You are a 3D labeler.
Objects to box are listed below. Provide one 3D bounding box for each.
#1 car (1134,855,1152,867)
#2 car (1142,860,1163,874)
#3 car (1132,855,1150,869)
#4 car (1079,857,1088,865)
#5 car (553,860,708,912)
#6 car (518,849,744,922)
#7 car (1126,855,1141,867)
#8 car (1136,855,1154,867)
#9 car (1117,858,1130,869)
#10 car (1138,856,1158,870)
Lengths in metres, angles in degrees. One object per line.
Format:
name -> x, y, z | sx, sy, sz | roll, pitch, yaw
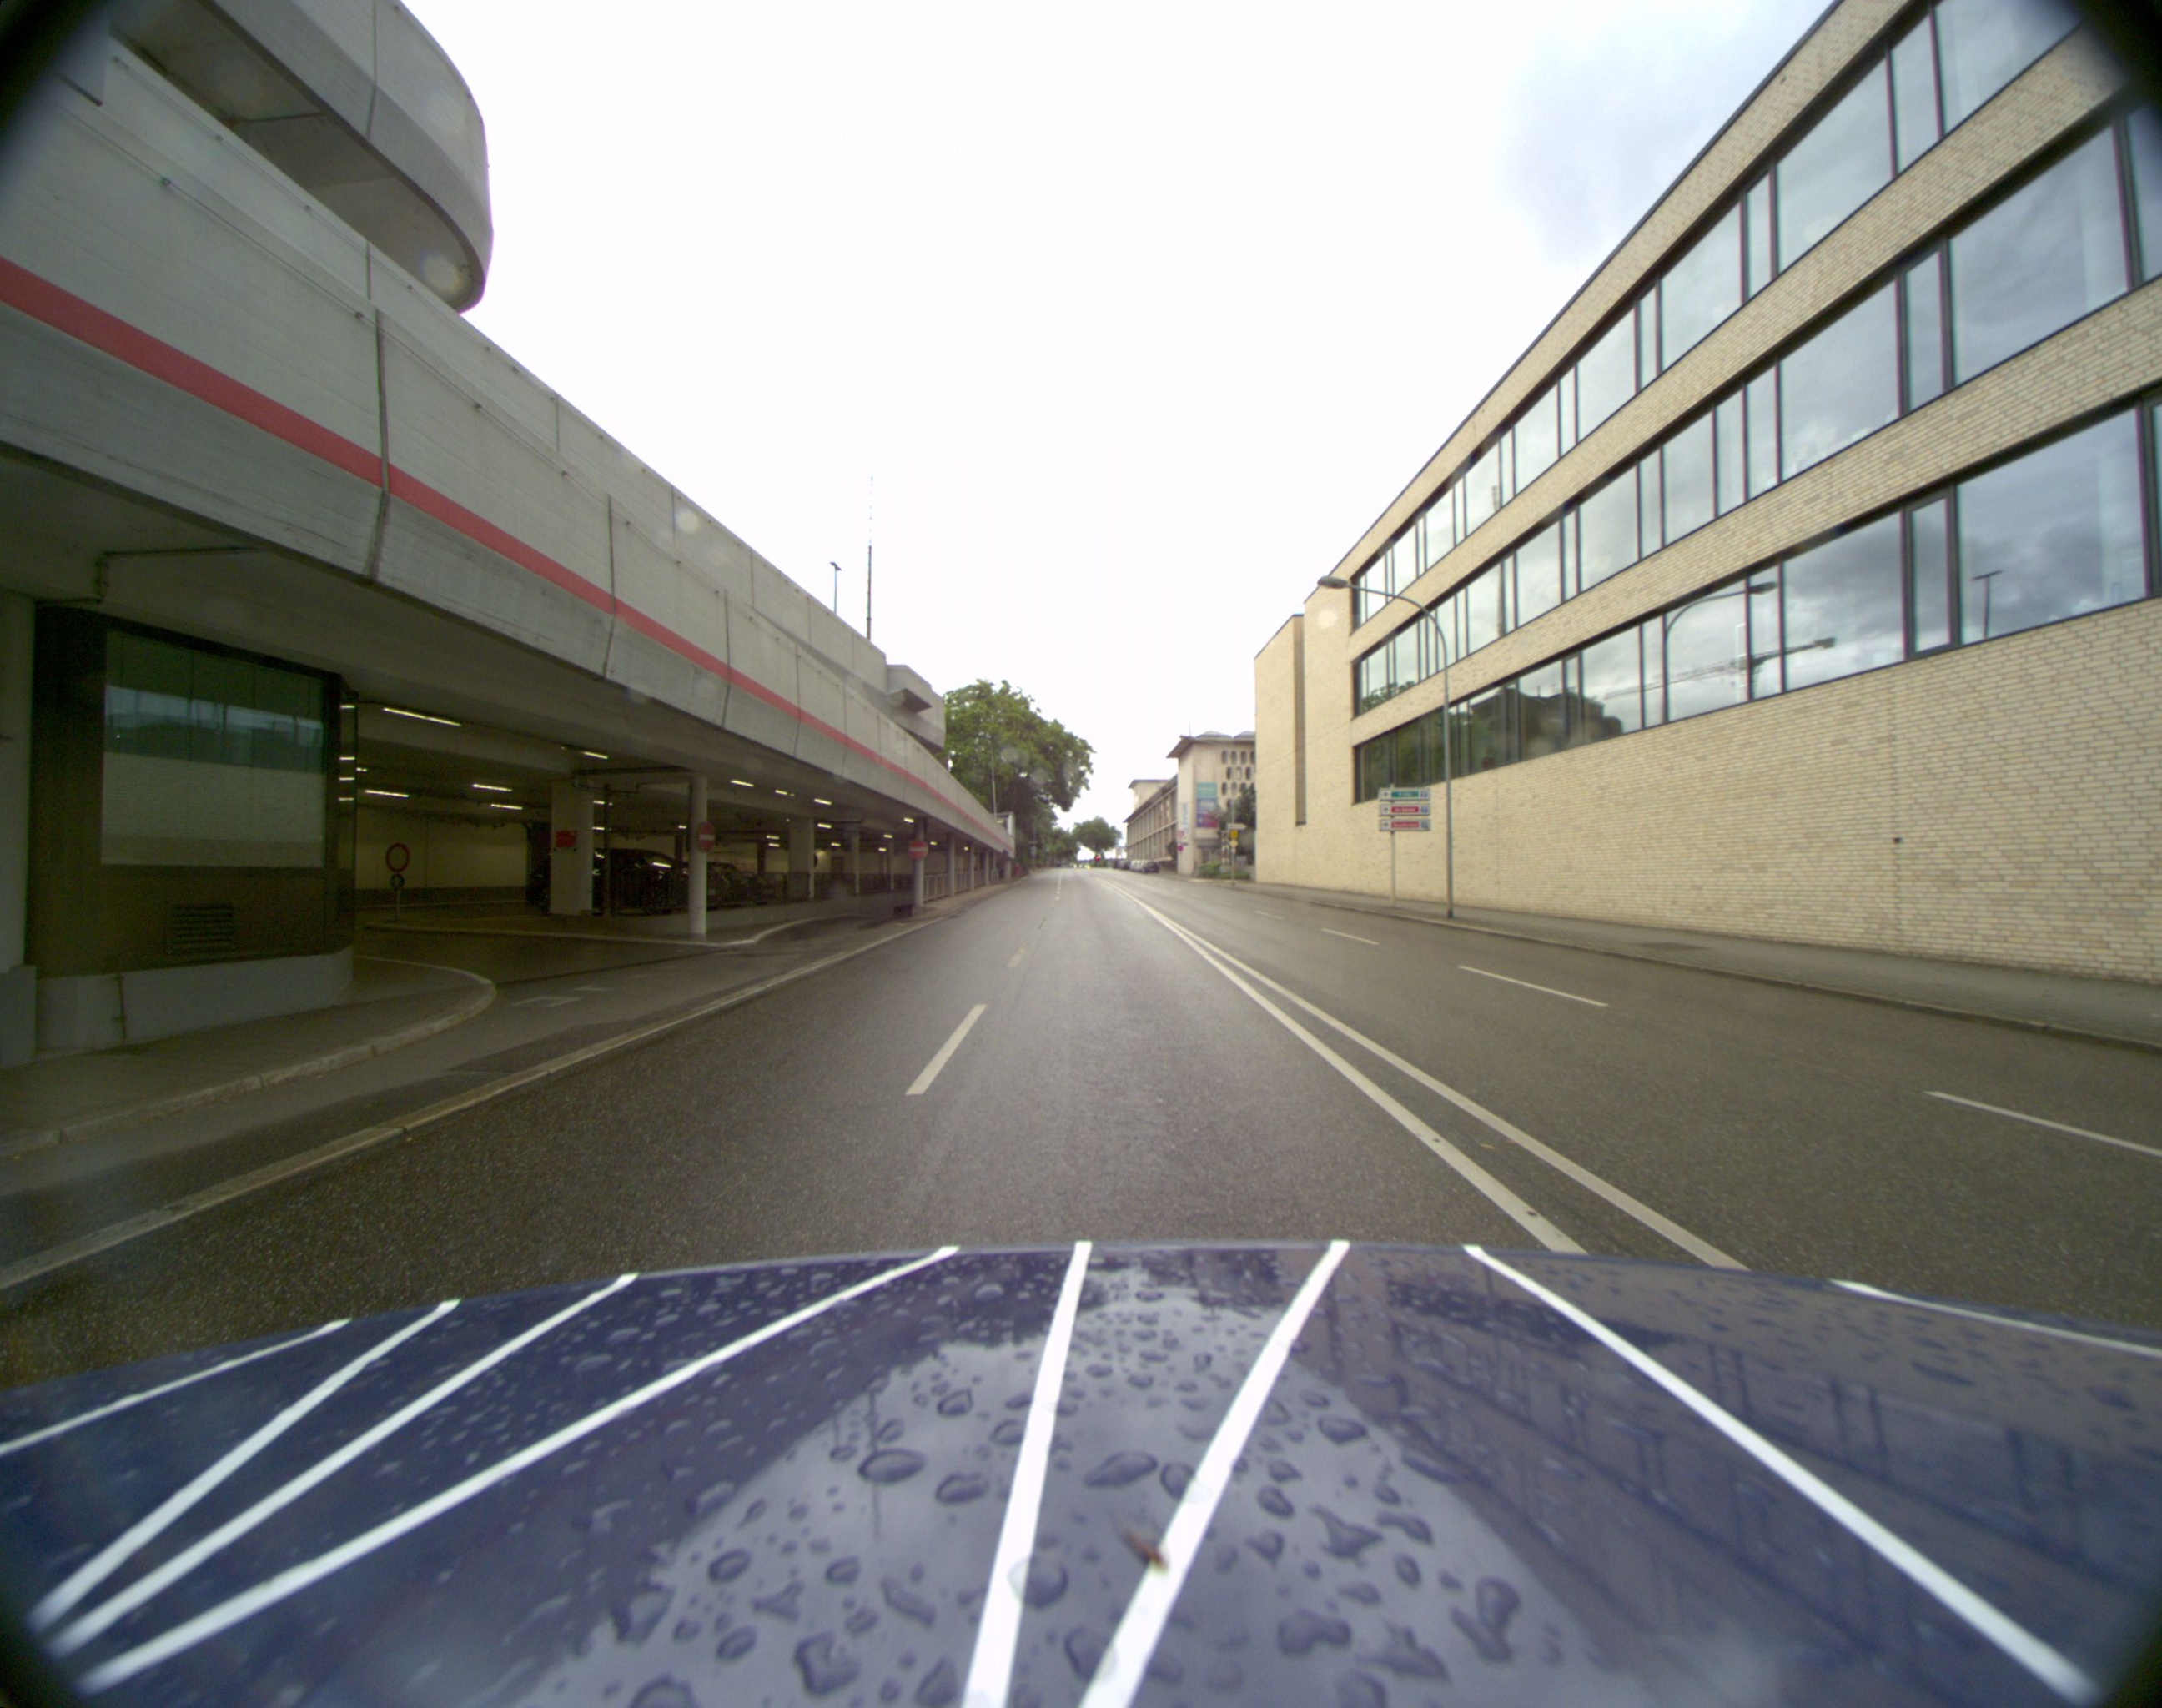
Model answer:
car -> 8.672, 0.960, 106.789 | 1.999, 1.482, 4.185 | -2, 1, -1
car -> 8.535, 1.561, 90.985 | 1.999, 1.520, 3.999 | -2, 1, -2
car -> 8.815, 1.161, 112.367 | 1.999, 1.521, 3.999 | -10, 1, -2
car -> 0.726, 1.915, 210.110 | 1.806, 2.002, 3.997 | -2, 1, -6
car -> -13.819, 0.972, 23.413 | 3.730, 1.496, 1.808 | 0, -1, 6
car -> -10.987, 0.741, 18.710 | 4.585, 1.630, 1.823 | 1, -1, 6
car -> 8.324, 1.093, 121.427 | 1.999, 1.701, 3.999 | -3, 1, -1
car -> 8.568, 0.925, 101.810 | 1.998, 1.503, 3.999 | -2, 1, 0
car -> 7.888, 1.762, 142.566 | 1.999, 1.637, 3.998 | -3, 2, -2
car -> 8.500, 1.170, 96.444 | 1.999, 1.632, 3.999 | -2, 1, -1
